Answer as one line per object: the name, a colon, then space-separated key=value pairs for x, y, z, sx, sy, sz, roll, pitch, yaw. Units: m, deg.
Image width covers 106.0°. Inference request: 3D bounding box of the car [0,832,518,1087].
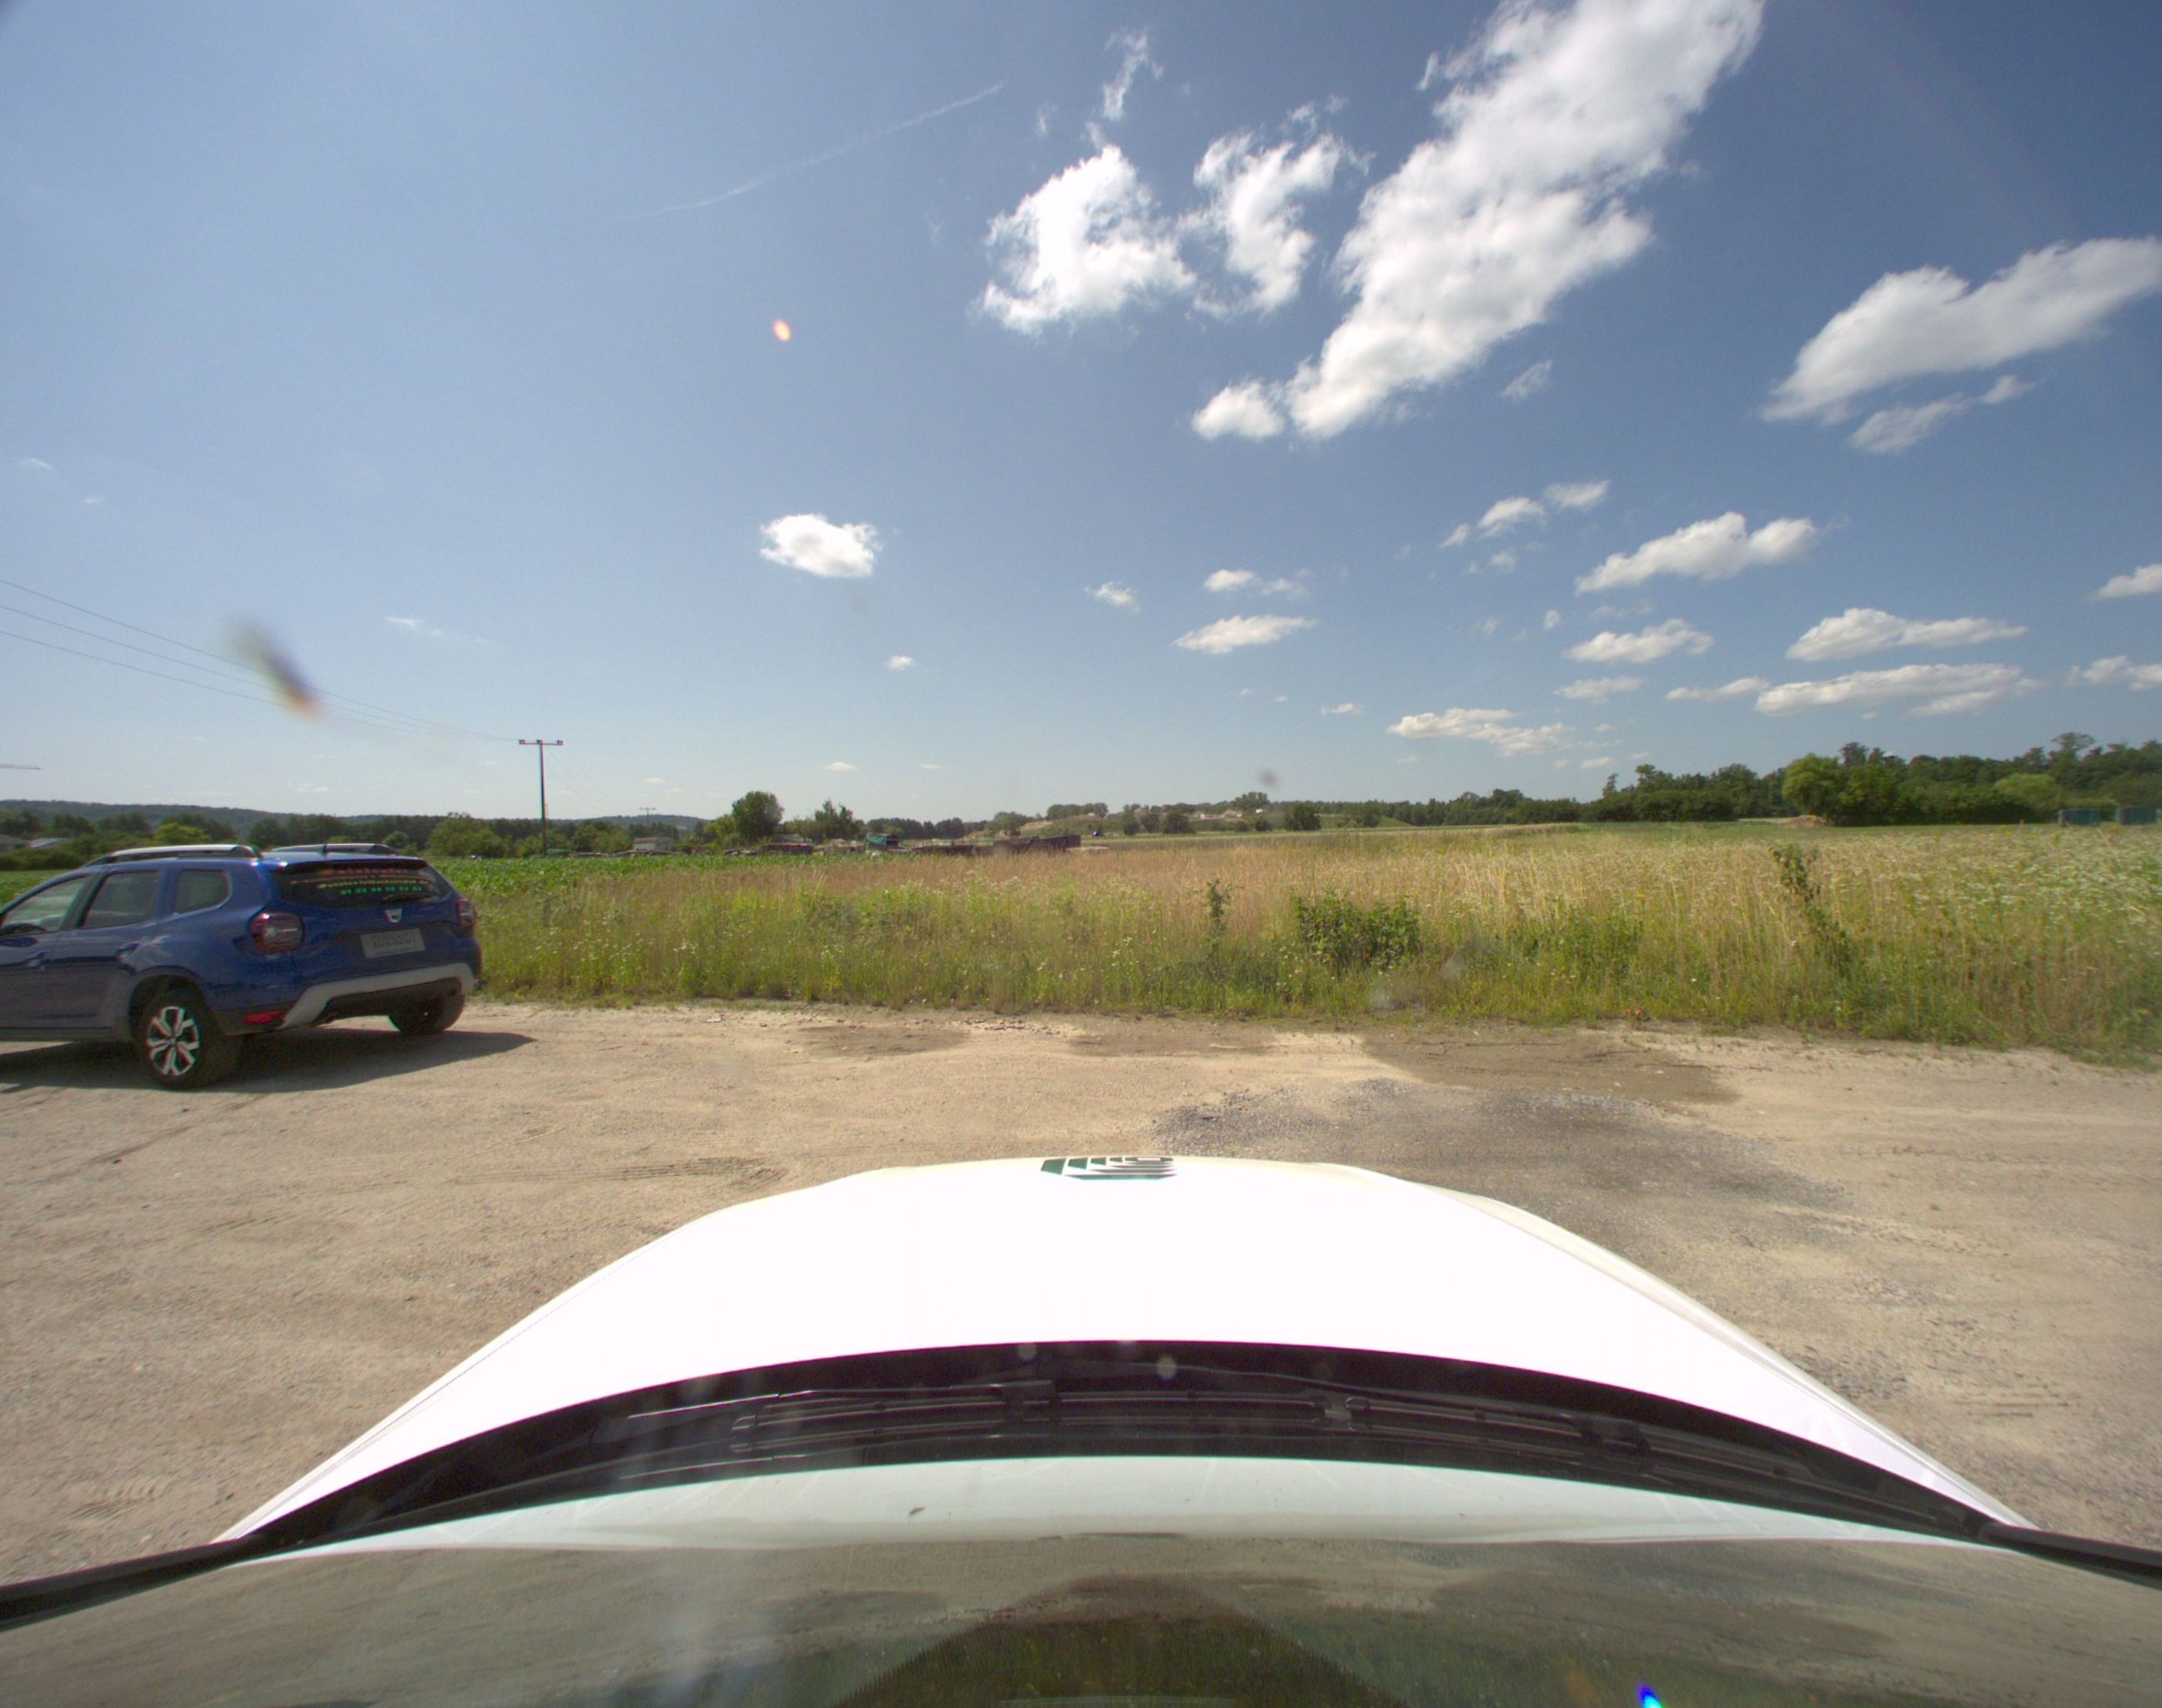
car: x=-7.317 y=0.751 z=6.681 sx=4.413 sy=1.661 sz=1.871 roll=-2 pitch=0 yaw=13
